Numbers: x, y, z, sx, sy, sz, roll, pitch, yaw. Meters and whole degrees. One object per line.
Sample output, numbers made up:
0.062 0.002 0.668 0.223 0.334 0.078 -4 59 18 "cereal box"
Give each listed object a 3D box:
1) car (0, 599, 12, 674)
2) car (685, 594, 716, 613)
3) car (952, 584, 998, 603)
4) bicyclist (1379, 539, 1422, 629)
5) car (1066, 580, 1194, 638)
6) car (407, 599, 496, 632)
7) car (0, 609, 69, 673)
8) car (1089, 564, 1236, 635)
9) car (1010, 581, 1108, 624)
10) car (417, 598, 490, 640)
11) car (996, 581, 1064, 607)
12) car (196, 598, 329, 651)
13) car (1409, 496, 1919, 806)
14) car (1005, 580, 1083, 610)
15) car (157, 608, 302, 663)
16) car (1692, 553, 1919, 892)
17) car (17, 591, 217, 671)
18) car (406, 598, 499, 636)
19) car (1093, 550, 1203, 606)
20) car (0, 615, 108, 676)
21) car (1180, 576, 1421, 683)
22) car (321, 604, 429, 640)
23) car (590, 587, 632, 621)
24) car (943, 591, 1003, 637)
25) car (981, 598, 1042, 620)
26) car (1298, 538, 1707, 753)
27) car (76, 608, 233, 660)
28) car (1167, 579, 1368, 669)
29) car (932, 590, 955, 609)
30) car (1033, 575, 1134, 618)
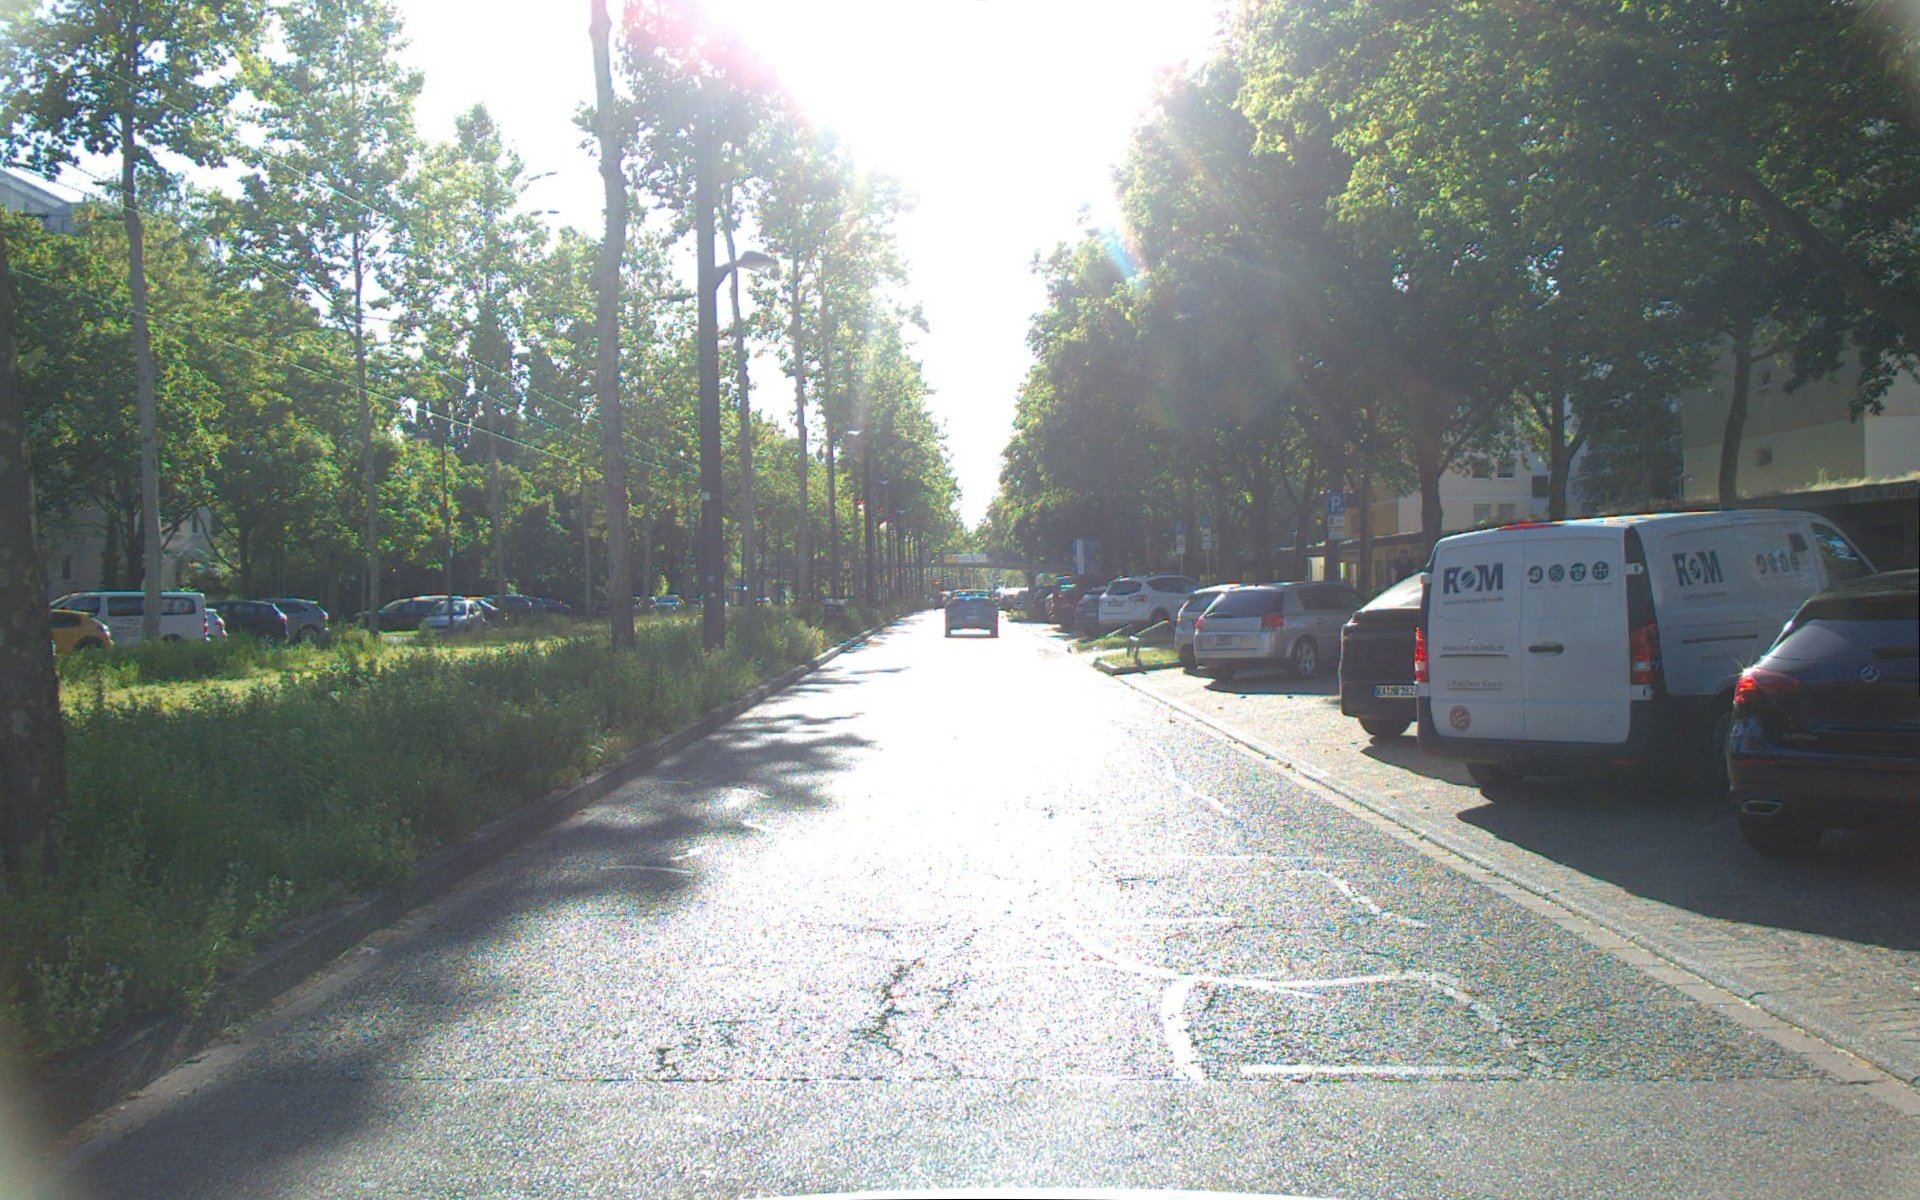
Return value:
-23.385 0.892 36.455 4.051 1.675 1.626 -2 0 -43 "car"
-23.232 0.304 148.092 1.952 1.617 4.169 1 0 1 "car"
1.483 -0.646 161.610 4.587 1.799 1.827 0 0 -43 "car"
8.875 -0.320 33.333 0.610 1.771 1.024 -1 1 4 "bicyclist"
4.961 0.238 47.916 3.759 1.496 1.624 -3 1 -44 "car"
-25.480 0.760 82.888 3.890 1.513 1.767 -2 0 -44 "car"
-24.014 1.030 40.005 4.051 1.508 1.626 -2 0 -43 "car"
5.524 -0.031 44.873 3.994 1.734 1.734 -3 0 -42 "car"
4.332 0.080 71.938 4.280 1.747 1.612 -2 1 -40 "car"
-19.339 0.699 63.311 1.612 1.511 3.849 -2 0 -1 "car"
4.395 -0.393 103.494 4.297 1.449 1.826 -3 1 -44 "car"
-23.841 0.811 56.673 4.009 1.635 1.985 -1 2 -18 "car"
5.461 0.240 12.260 4.629 1.885 1.803 -3 0 -41 "car"
4.728 -0.307 92.821 4.461 1.468 1.826 -3 1 -44 "car"
-23.712 1.128 53.708 4.037 1.557 1.796 -2 2 -35 "car"
5.780 0.467 8.764 3.958 1.454 1.775 -5 1 -38 "car"
-23.771 0.828 46.736 4.752 2.041 1.866 -2 2 -39 "car"
-24.537 0.829 80.079 3.948 1.704 1.759 -2 0 -44 "car"
6.836 -0.812 59.928 4.048 1.842 1.627 -3 0 -41 "car"
-24.367 1.189 42.603 4.054 1.457 1.554 -2 0 -44 "car"
5.464 0.434 26.231 4.154 1.436 1.692 -3 1 -44 "car"
-25.464 0.935 72.084 4.099 1.361 1.767 -2 2 -44 "car"
-23.051 0.248 109.340 1.611 2.130 4.916 1 0 1 "car"
0.385 0.430 54.513 1.883 1.435 4.000 -1 1 -1 "car"
3.828 0.648 122.549 1.945 1.484 4.594 -2 0 43 "car"
5.350 0.345 16.001 4.464 1.734 1.734 -3 1 -42 "car"
-24.071 0.995 49.478 4.037 1.457 1.560 1 1 -35 "car"
5.586 0.406 29.798 3.910 1.397 1.562 -3 1 -44 "car"
-1.352 -0.050 138.812 1.811 1.562 3.866 -1 1 0 "car"
5.216 -0.153 69.592 4.039 1.609 1.759 -3 0 -35 "car"
